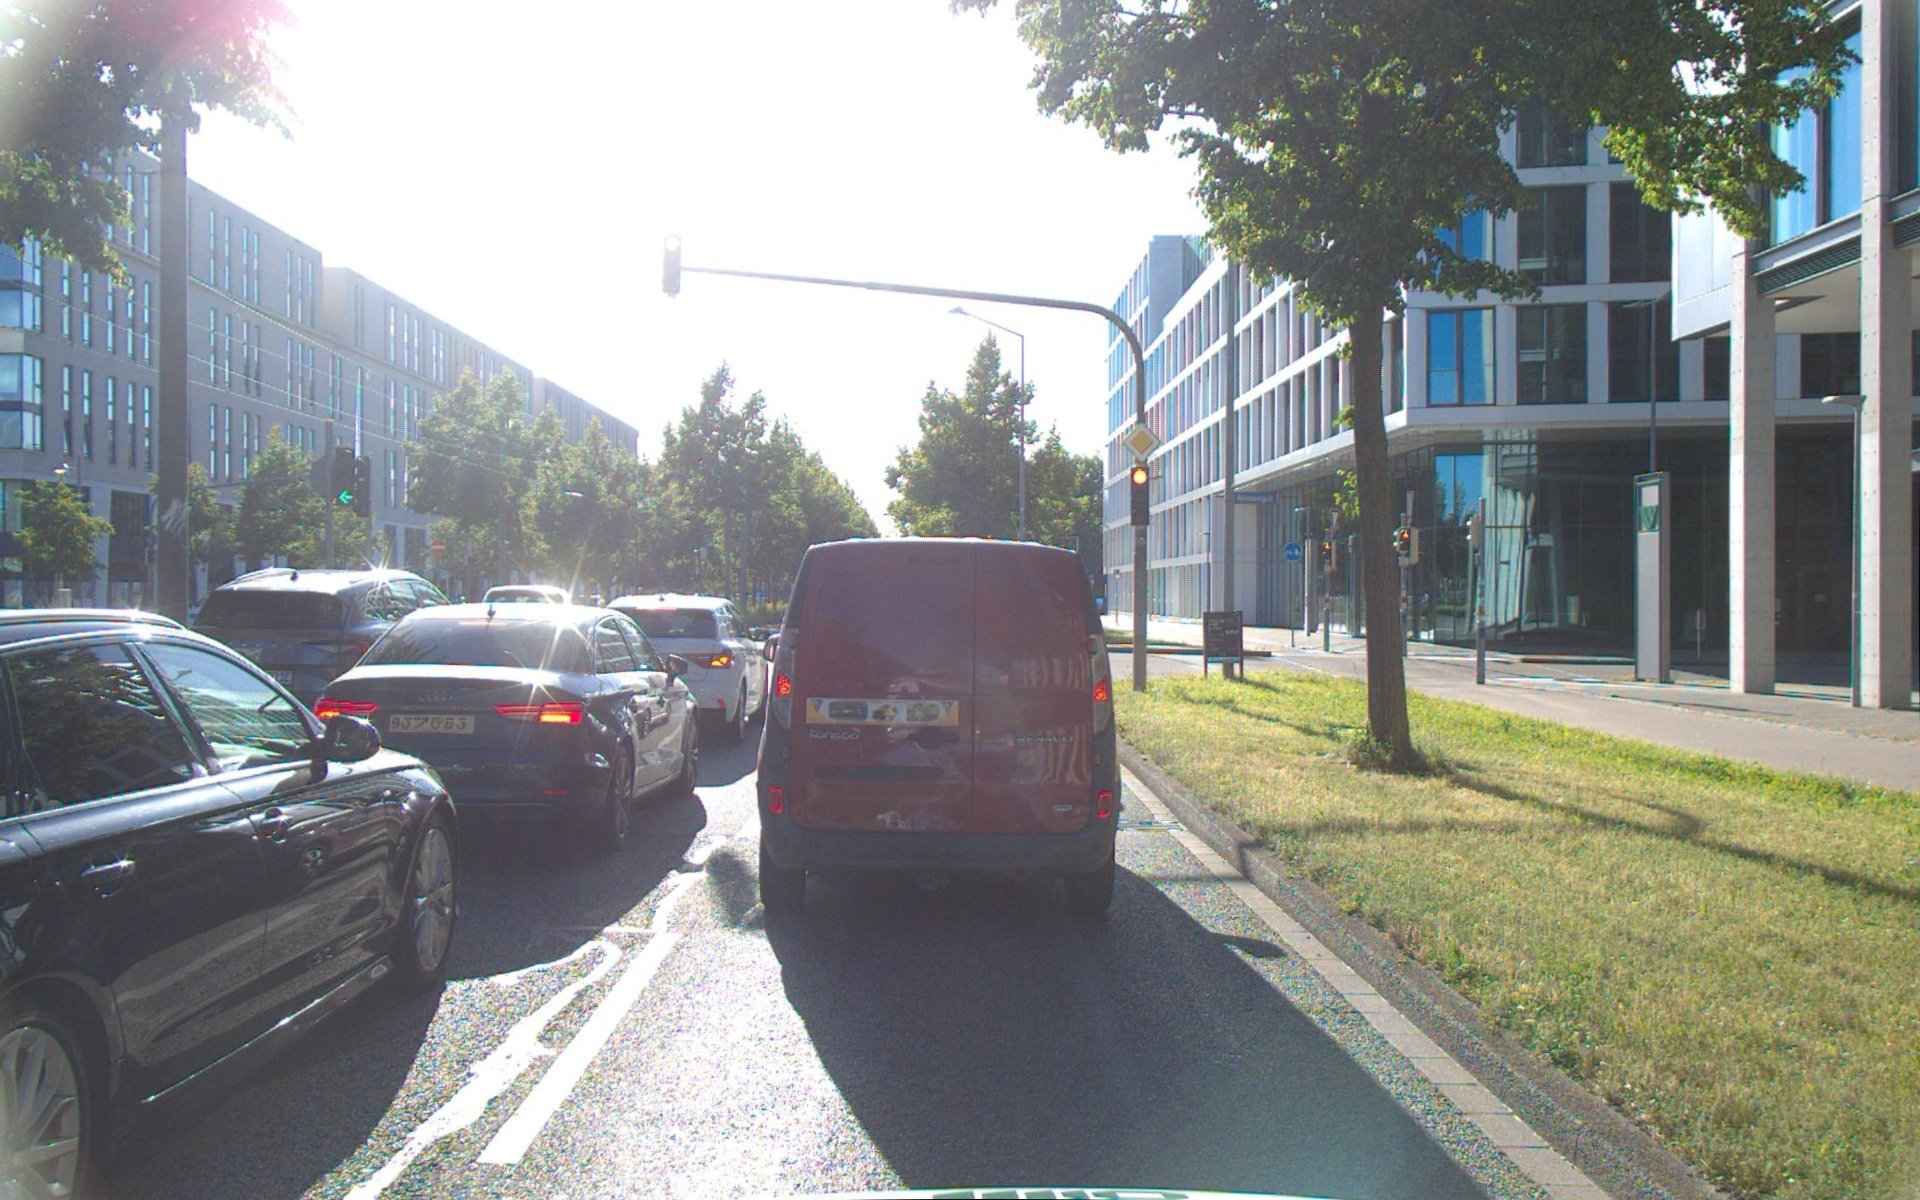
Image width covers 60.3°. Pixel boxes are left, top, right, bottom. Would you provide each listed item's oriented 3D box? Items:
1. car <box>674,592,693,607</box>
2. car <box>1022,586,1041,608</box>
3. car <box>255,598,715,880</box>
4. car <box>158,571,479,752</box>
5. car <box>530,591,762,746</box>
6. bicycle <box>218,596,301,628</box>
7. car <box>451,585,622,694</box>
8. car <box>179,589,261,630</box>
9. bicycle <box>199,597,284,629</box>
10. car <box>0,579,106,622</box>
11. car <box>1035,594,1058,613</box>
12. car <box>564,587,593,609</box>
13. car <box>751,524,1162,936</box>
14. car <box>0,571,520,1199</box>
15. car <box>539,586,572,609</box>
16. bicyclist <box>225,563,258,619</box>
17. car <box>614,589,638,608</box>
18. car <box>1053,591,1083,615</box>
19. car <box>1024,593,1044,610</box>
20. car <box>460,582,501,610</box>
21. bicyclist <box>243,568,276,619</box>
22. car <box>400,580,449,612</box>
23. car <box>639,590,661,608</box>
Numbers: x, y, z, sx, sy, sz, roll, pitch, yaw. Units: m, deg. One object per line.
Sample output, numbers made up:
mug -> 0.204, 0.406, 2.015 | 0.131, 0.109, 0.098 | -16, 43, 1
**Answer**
car -> -37.174, -0.050, 222.307 | 1.953, 2.049, 3.999 | 0, 0, -1
car -> 8.574, -0.383, 198.471 | 1.953, 2.540, 4.986 | 0, 0, -1
car -> -2.801, 0.727, 10.813 | 1.804, 1.451, 4.338 | 0, 0, -1
car -> -5.901, 0.471, 15.812 | 1.765, 1.473, 4.562 | 0, 1, -7
car -> -3.191, 0.641, 17.534 | 1.767, 1.451, 3.900 | 0, 0, -1
bicycle -> -27.451, 0.468, 64.823 | 2.884, 1.211, 0.817 | 0, 0, -5
car -> -6.745, 0.578, 26.807 | 1.764, 1.508, 4.565 | 3, 0, -4
car -> -34.745, 0.419, 77.778 | 1.953, 1.845, 4.369 | 0, 0, -1
bicycle -> -27.552, 0.504, 63.442 | 2.883, 1.211, 0.817 | 0, 0, -3
car -> -33.197, 0.005, 60.659 | 1.729, 1.546, 3.999 | 0, 0, -1
car -> 8.417, 0.344, 160.749 | 1.953, 1.813, 3.999 | 0, 0, -1
car -> -36.388, -0.222, 157.879 | 1.953, 2.049, 3.999 | 0, 0, -1
car -> -0.045, 0.568, 9.301 | 1.804, 1.812, 3.999 | 0, 0, -1
car -> -2.761, 0.693, 4.723 | 1.836, 1.510, 4.965 | 0, 0, -2
car -> -36.370, -0.250, 148.779 | 1.953, 2.049, 3.999 | 0, 0, -1
bicyclist -> -27.557, -0.348, 63.454 | 0.921, 2.129, 0.817 | 0, 0, -3
car -> -36.724, -0.160, 181.859 | 1.953, 2.049, 3.999 | 0, 0, -1
car -> 8.326, 0.237, 127.975 | 1.953, 1.813, 3.999 | 0, 0, -1
car -> 8.061, 0.188, 179.944 | 1.953, 1.813, 3.999 | 0, 0, -1
car -> -35.837, -0.307, 123.646 | 1.953, 2.049, 3.999 | 0, 0, -1
bicyclist -> -27.465, -0.255, 64.840 | 0.979, 1.981, 0.817 | 0, 0, -5
car -> -35.285, -0.247, 109.116 | 1.953, 2.049, 3.999 | 0, 0, -1
car -> -37.222, -0.128, 198.666 | 1.953, 2.049, 3.999 | 0, 0, -1
